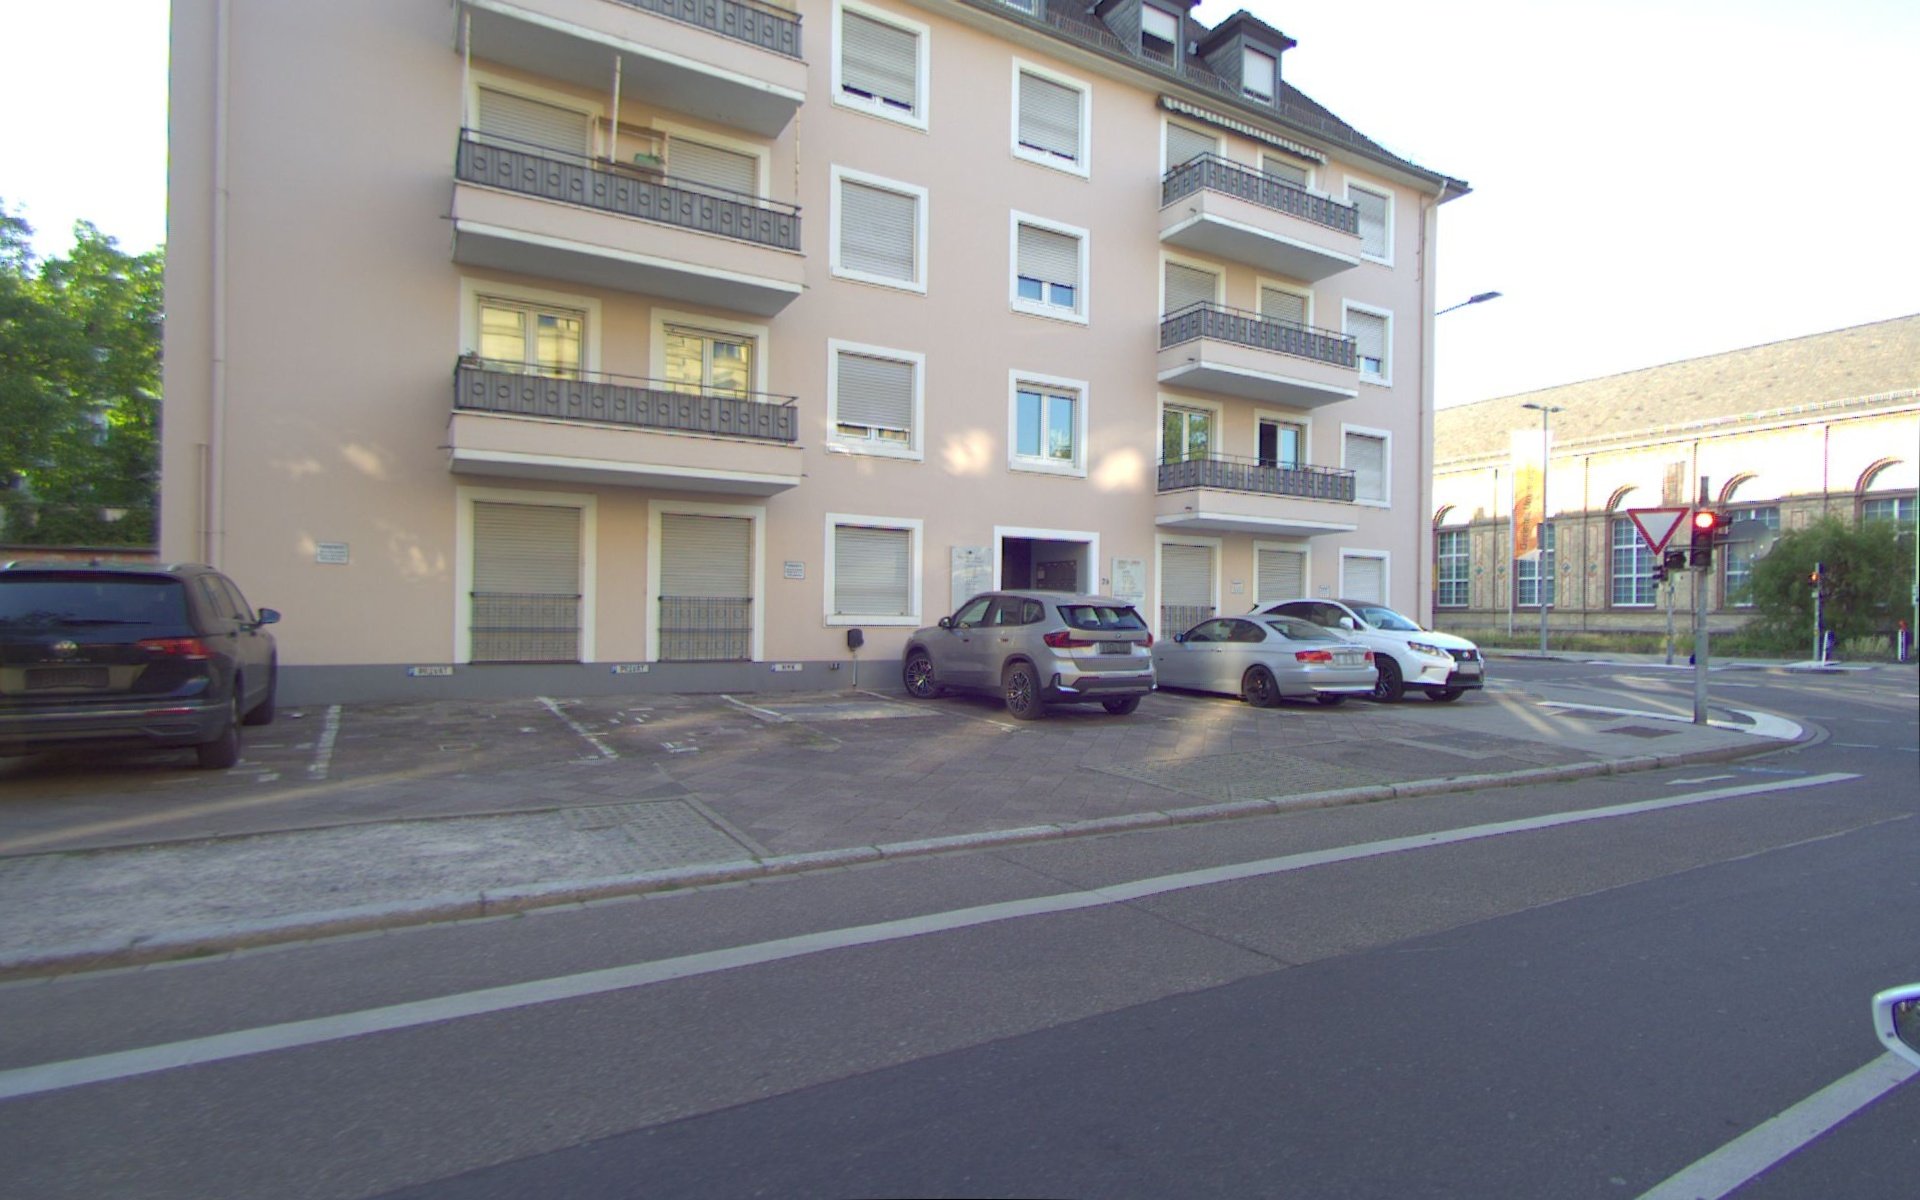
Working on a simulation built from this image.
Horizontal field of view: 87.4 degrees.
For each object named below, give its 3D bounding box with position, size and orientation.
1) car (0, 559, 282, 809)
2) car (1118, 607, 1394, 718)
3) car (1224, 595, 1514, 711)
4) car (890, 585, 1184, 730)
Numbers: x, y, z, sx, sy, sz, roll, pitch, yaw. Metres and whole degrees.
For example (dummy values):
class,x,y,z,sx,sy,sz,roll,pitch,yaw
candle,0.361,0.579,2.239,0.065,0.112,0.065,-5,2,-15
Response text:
class,x,y,z,sx,sy,sz,roll,pitch,yaw
car,-7.253,0.514,8.870,1.843,1.687,4.395,1,1,-31
car,4.607,0.898,16.285,1.716,1.399,4.244,1,1,-31
car,6.946,0.803,17.553,1.920,1.663,4.417,1,1,-31
car,0.872,0.650,14.044,1.894,1.627,4.395,1,1,-31
